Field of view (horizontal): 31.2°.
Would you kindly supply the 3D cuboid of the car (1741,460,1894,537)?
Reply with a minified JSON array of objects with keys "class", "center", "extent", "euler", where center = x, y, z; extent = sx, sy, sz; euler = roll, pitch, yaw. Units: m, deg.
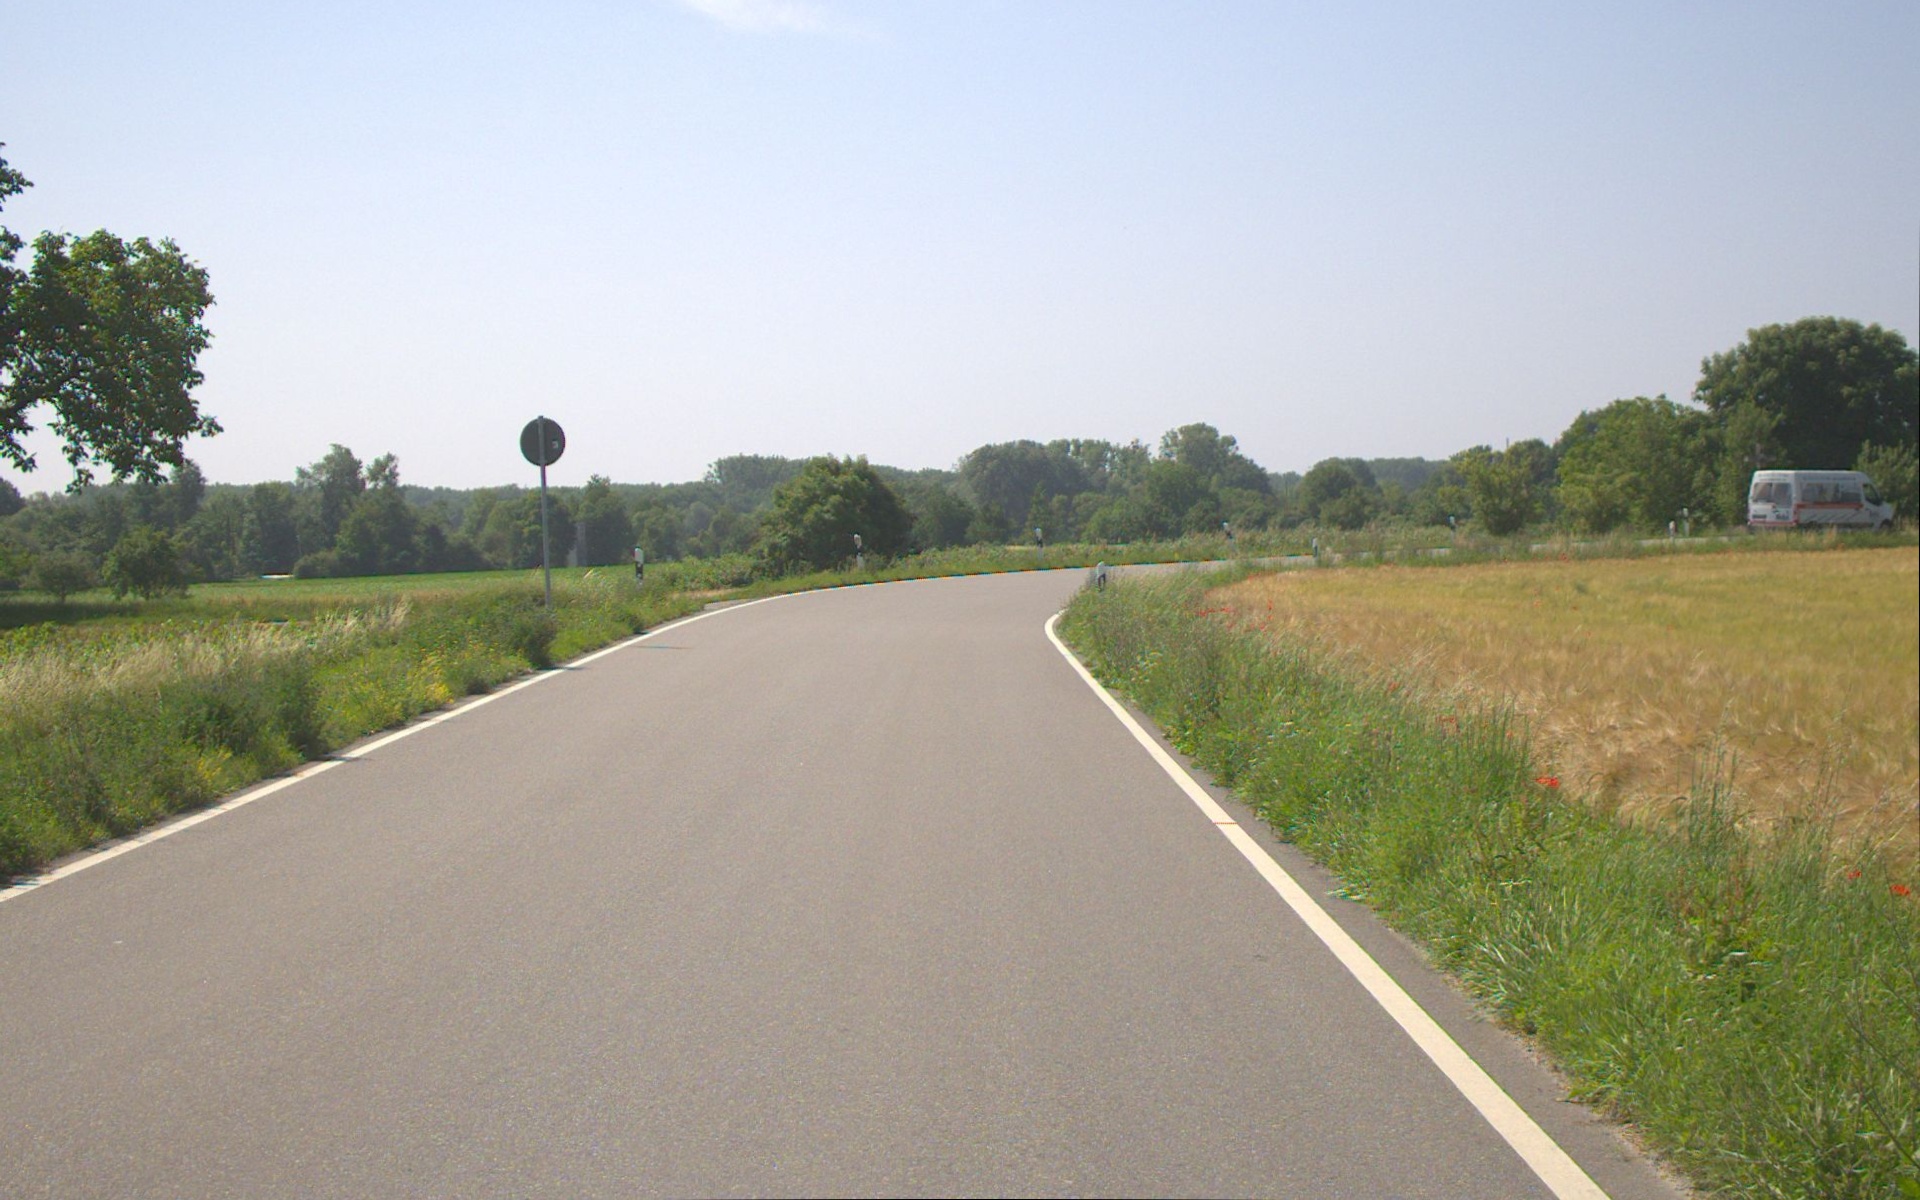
[{"class":"car","center":[29.145,-3.458,116.735],"extent":[5.671,2.359,2.110],"euler":[-4,2,-41]}]
